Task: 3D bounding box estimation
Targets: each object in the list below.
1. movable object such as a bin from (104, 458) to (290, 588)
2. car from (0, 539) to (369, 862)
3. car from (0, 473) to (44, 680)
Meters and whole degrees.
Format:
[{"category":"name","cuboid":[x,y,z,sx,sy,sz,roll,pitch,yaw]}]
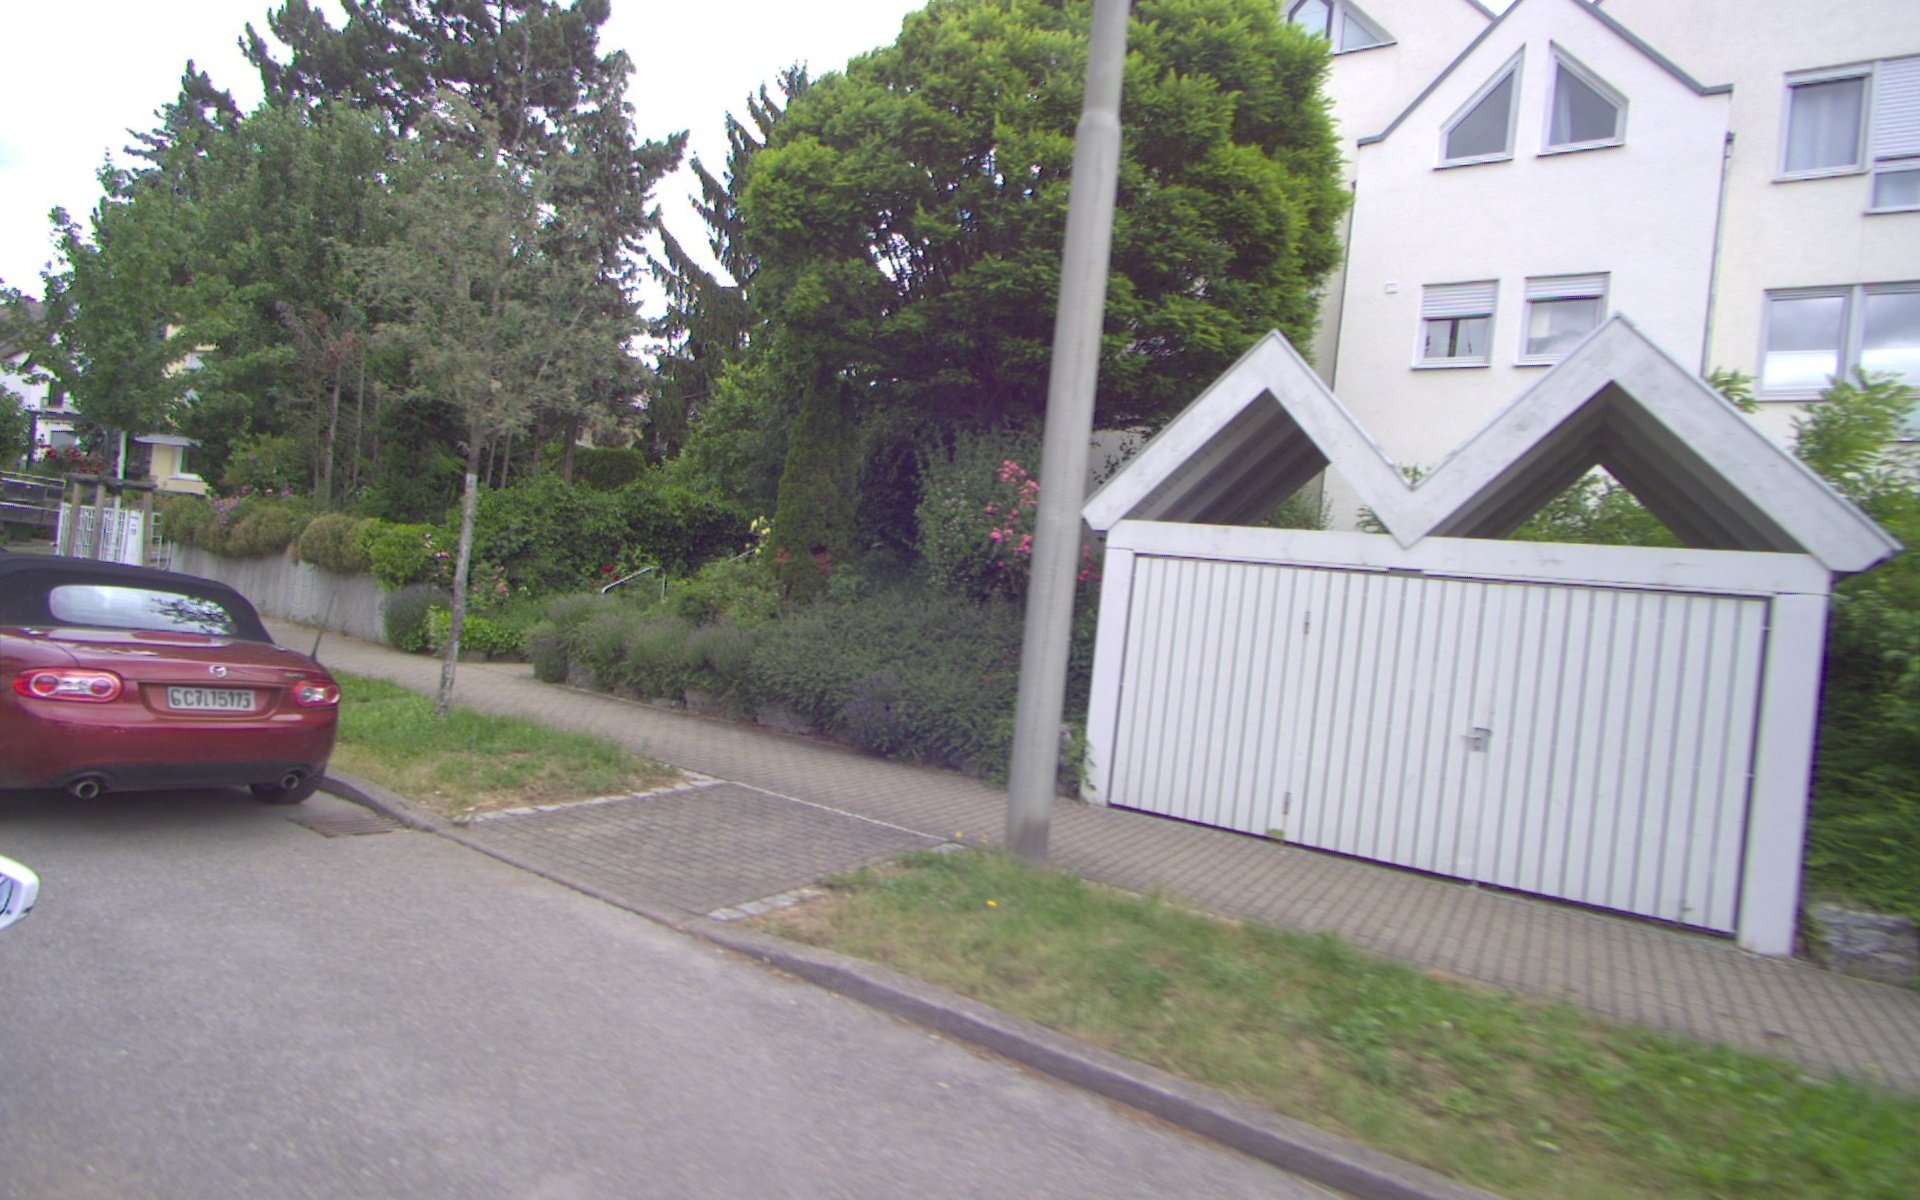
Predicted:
[{"category":"movable object such as a bin","cuboid":[-14.635,-1.430,19.385,1.319,2.036,2.318,7,-2,26]},{"category":"car","cuboid":[-5.233,0.354,5.705,3.819,1.249,1.485,7,-3,31]},{"category":"car","cuboid":[-10.370,-0.497,9.055,4.473,1.731,1.834,7,-2,32]}]
